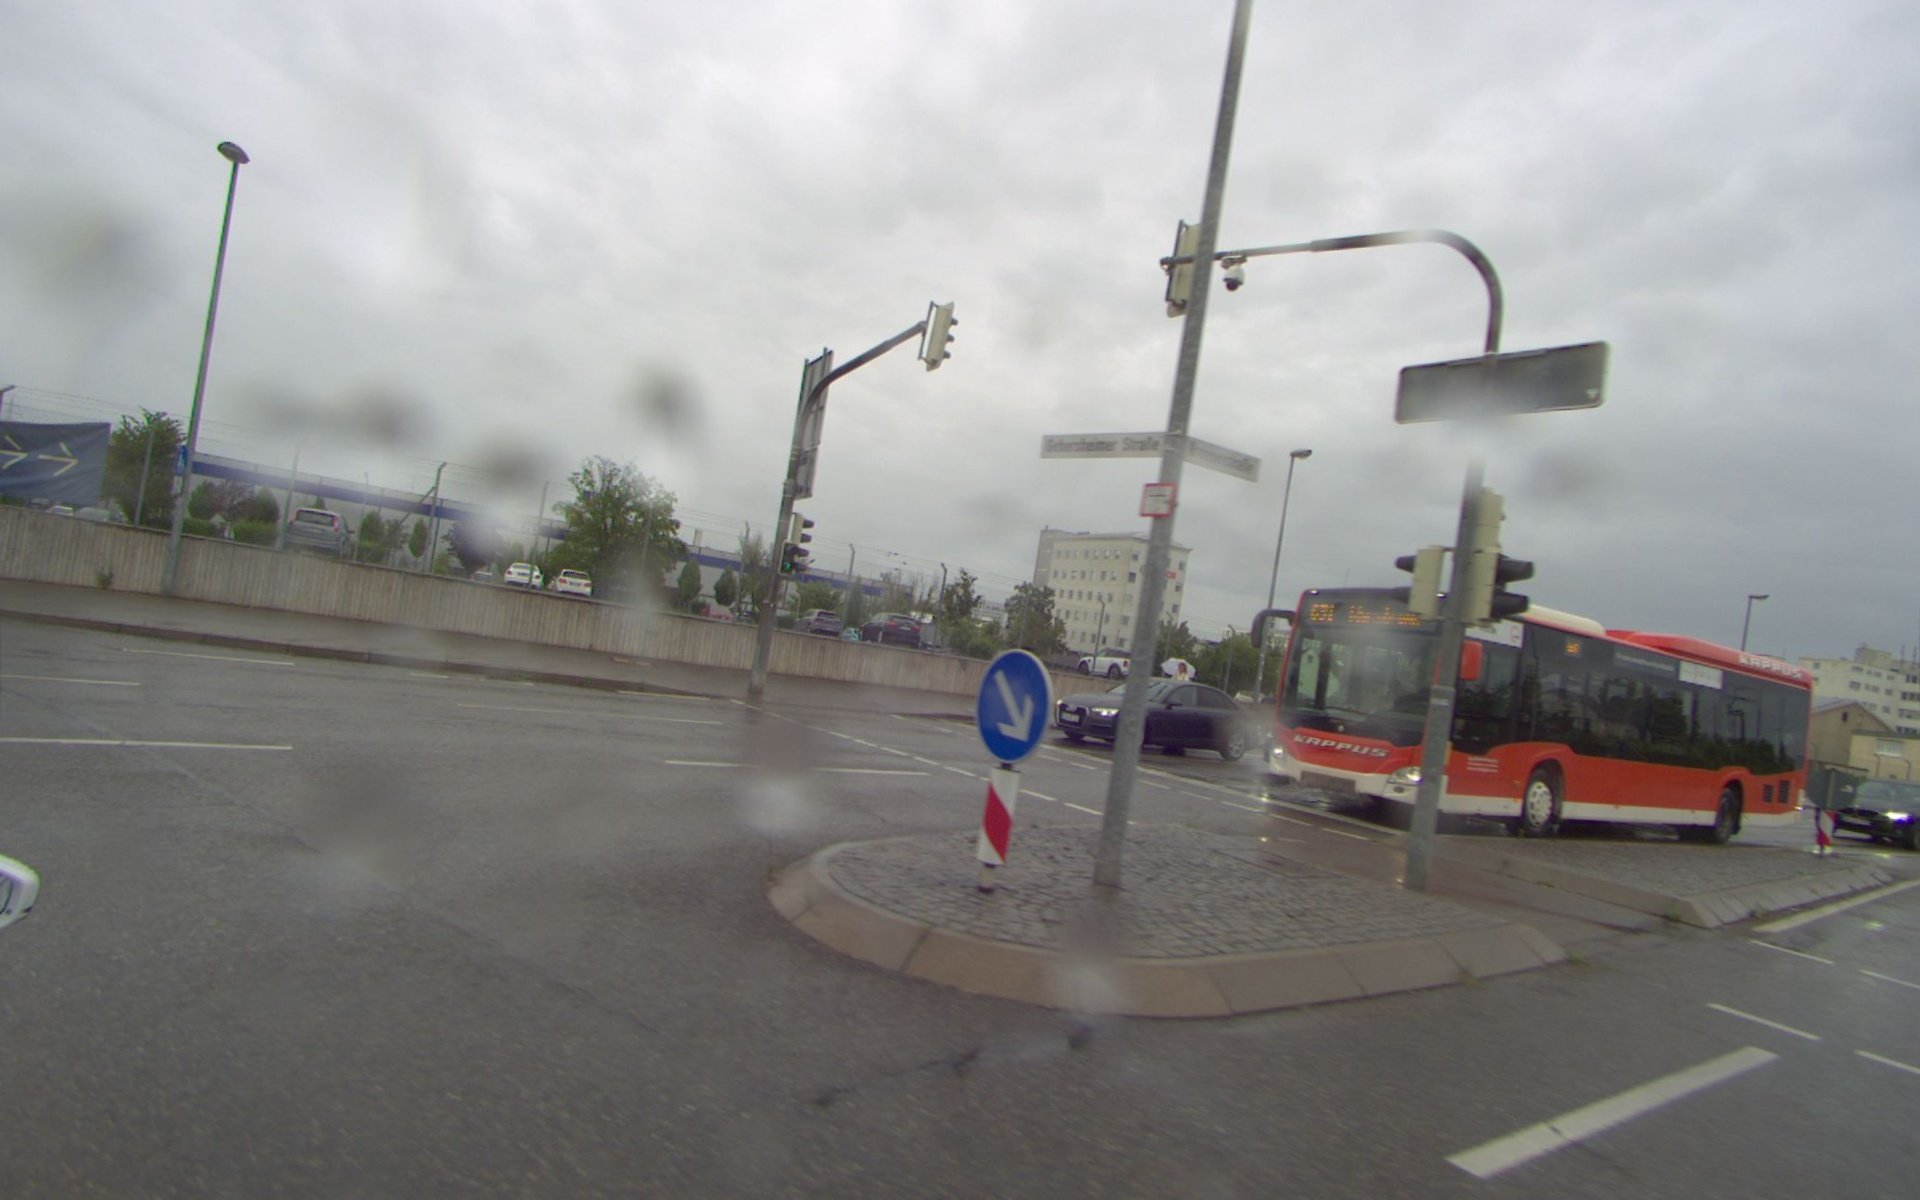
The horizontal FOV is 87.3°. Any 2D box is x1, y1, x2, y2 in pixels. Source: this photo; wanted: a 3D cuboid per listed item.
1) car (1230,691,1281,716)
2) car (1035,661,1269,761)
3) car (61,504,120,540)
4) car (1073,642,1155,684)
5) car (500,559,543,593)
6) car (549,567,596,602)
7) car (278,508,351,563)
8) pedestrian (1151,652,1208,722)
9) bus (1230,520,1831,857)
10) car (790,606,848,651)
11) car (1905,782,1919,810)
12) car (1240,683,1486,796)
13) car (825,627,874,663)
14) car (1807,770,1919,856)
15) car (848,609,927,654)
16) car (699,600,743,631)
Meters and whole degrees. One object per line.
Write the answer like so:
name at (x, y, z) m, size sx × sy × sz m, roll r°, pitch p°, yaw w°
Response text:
car at (25.553, 8.969, 87.097) m, size 1.825 × 1.558 × 3.976 m, roll 8°, pitch -2°, yaw -26°
car at (3.792, 2.188, 19.581) m, size 4.354 × 1.370 × 1.810 m, roll 10°, pitch -2°, yaw -34°
car at (-49.347, -4.411, 57.132) m, size 1.653 × 1.625 × 3.506 m, roll 8°, pitch -2°, yaw -28°
car at (7.688, 3.138, 50.654) m, size 1.694 × 1.577 × 4.157 m, roll 8°, pitch -2°, yaw -30°
car at (-22.659, -1.203, 52.006) m, size 1.800 × 1.450 × 4.083 m, roll 8°, pitch -2°, yaw -23°
car at (-20.642, -0.834, 53.490) m, size 1.842 × 1.543 × 4.078 m, roll 8°, pitch -2°, yaw -26°
car at (-22.520, -2.199, 35.225) m, size 1.729 × 1.571 × 3.506 m, roll 8°, pitch -2°, yaw -28°
pedestrian at (5.693, 2.251, 26.123) m, size 0.866 × 1.630 × 0.860 m, roll 8°, pitch 3°, yaw -37°
bus at (9.833, 1.814, 16.213) m, size 12.186 × 3.614 × 2.961 m, roll 11°, pitch -3°, yaw -33°
car at (-7.700, 1.525, 54.645) m, size 1.729 × 2.037 × 3.797 m, roll 8°, pitch -2°, yaw -28°
car at (56.265, 11.411, 56.592) m, size 1.976 × 1.469 × 3.978 m, roll 9°, pitch -2°, yaw -24°
car at (7.489, 2.597, 18.545) m, size 4.551 × 1.484 × 1.886 m, roll 10°, pitch -2°, yaw -34°
car at (-7.938, 3.193, 71.914) m, size 1.977 × 2.037 × 3.973 m, roll 8°, pitch -2°, yaw -28°
car at (21.687, 4.963, 23.433) m, size 3.962 × 1.515 × 1.837 m, roll 9°, pitch -2°, yaw -33°
car at (-3.284, 1.369, 44.965) m, size 1.694 × 1.577 × 4.157 m, roll 8°, pitch -2°, yaw -30°
car at (-15.999, 1.017, 67.254) m, size 1.906 × 1.607 × 3.765 m, roll 9°, pitch -2°, yaw -26°
